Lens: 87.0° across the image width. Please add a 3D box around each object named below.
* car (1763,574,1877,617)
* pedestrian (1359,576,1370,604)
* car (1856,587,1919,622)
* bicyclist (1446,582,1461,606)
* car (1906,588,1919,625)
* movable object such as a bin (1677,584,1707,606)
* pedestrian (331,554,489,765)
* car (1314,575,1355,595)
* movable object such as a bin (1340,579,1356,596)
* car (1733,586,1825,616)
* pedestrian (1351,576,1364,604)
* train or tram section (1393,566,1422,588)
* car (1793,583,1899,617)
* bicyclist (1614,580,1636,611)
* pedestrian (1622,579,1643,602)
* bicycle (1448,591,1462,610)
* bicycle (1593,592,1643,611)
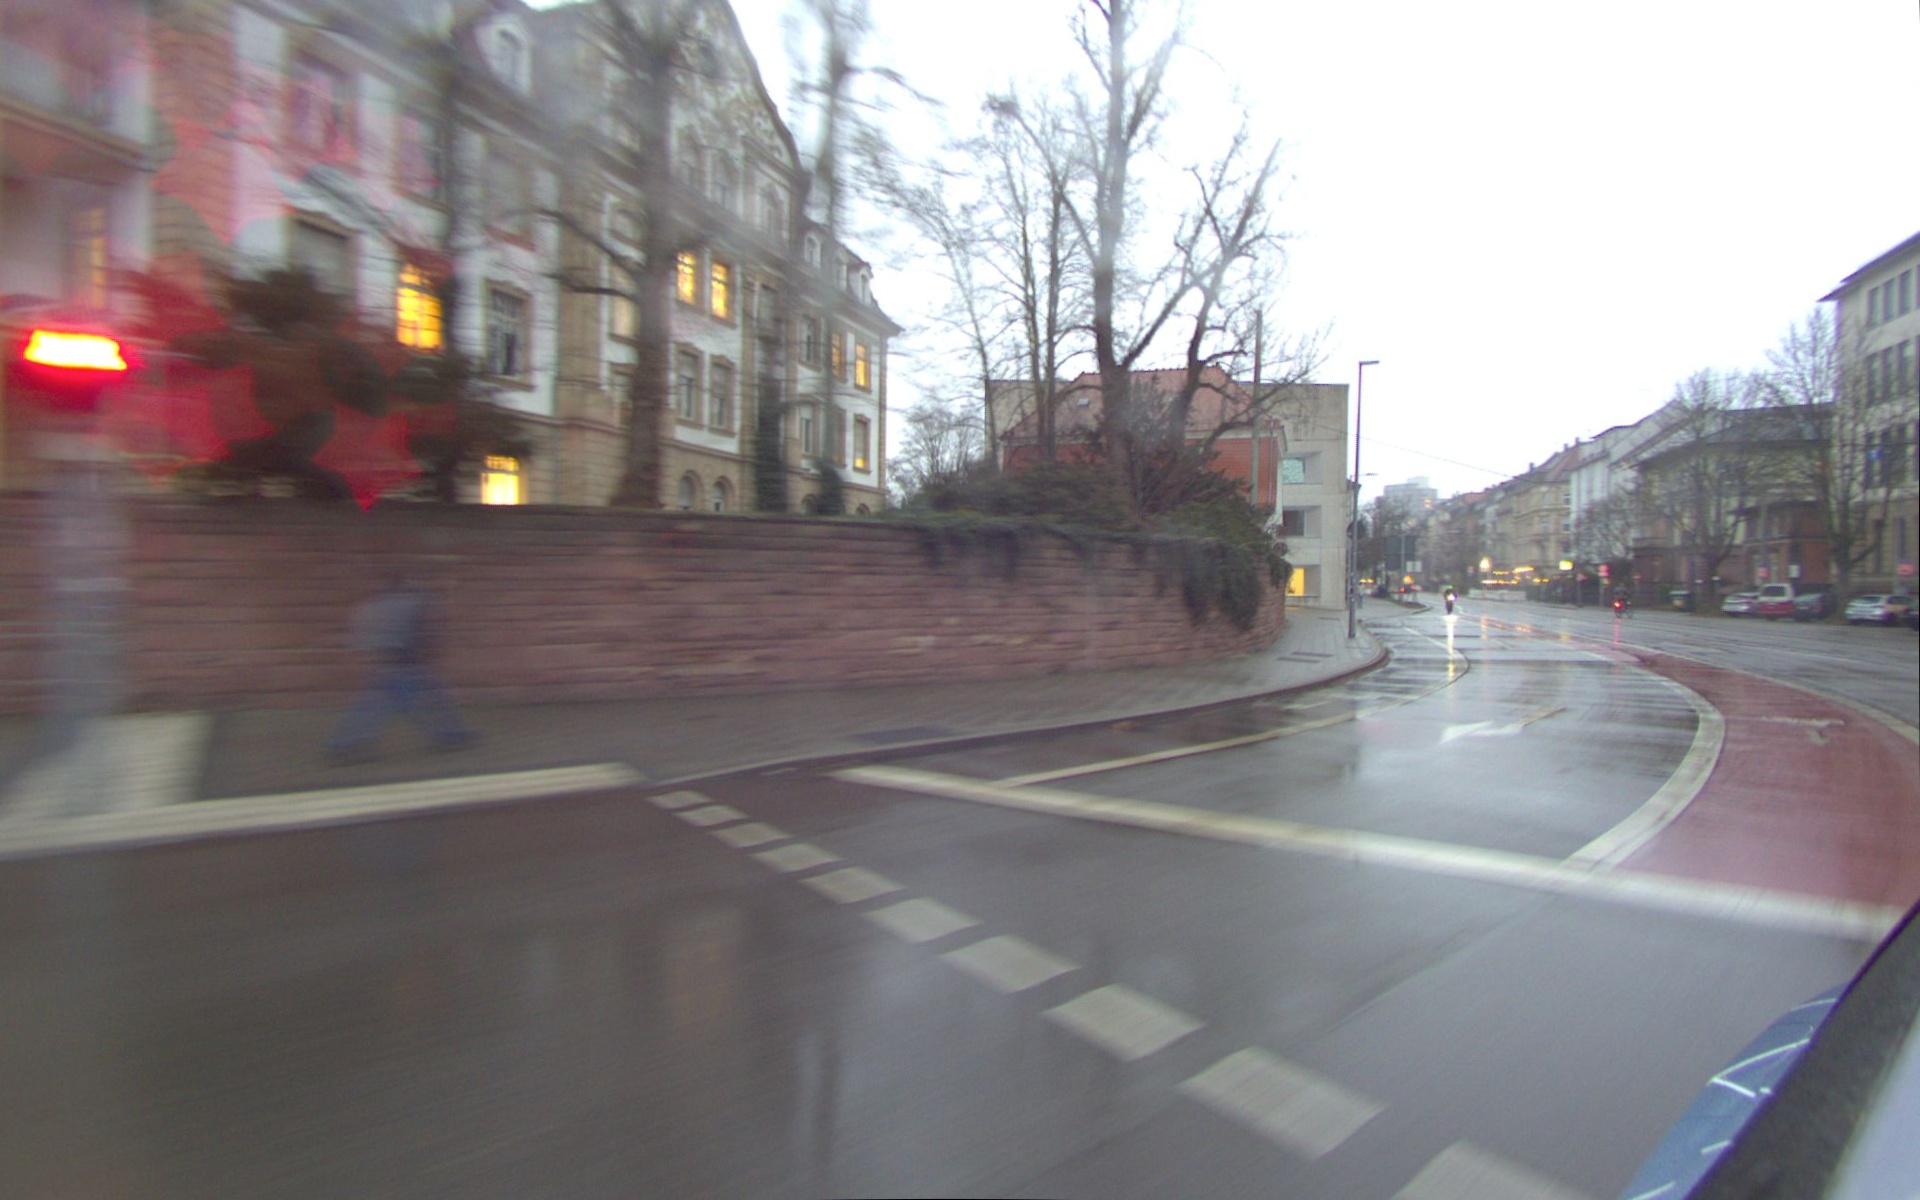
[{"bbox_3d":[45.441,-0.261,53.537,4.529,2.079,1.969,-2,1,-7],"label":"car"},{"bbox_3d":[27.685,-0.696,69.299,0.650,1.882,0.655,2,2,22],"label":"pedestrian"},{"bbox_3d":[42.929,0.180,45.815,3.747,1.476,1.640,-2,1,-13],"label":"car"},{"bbox_3d":[28.954,-0.374,59.380,0.710,1.360,0.713,-1,0,27],"label":"bicyclist"},{"bbox_3d":[41.264,0.218,41.019,4.387,1.476,1.802,-2,1,-6],"label":"car"},{"bbox_3d":[50.730,-0.370,70.156,0.965,1.483,1.347,-2,1,-17],"label":"movable object such as a bin"},{"bbox_3d":[-4.806,0.476,8.836,1.134,1.705,0.808,1,2,-32],"label":"pedestrian"},{"bbox_3d":[33.879,-1.342,91.572,3.418,1.667,1.721,-1,1,21],"label":"car"},{"bbox_3d":[34.888,-1.144,91.020,1.245,1.463,1.410,1,1,20],"label":"movable object such as a bin"},{"bbox_3d":[47.499,0.033,58.725,4.099,1.611,1.778,-2,1,-9],"label":"car"},{"bbox_3d":[27.270,-0.724,69.466,0.765,1.881,0.713,2,2,22],"label":"pedestrian"},{"bbox_3d":[84.861,-4.438,192.351,2.851,3.783,27.163,-2,1,19],"label":"train or tram section"},{"bbox_3d":[44.237,-0.027,50.580,3.896,1.559,1.826,-2,1,-7],"label":"car"},{"bbox_3d":[35.722,-0.268,54.350,0.848,1.615,0.774,1,2,25],"label":"bicyclist"},{"bbox_3d":[50.785,-0.740,76.416,0.906,1.724,0.948,-2,0,-2],"label":"pedestrian"},{"bbox_3d":[28.952,0.032,59.193,0.717,1.104,2.264,0,-1,27],"label":"bicycle"},{"bbox_3d":[35.450,0.067,54.534,2.099,0.956,0.937,-1,1,25],"label":"bicycle"}]
